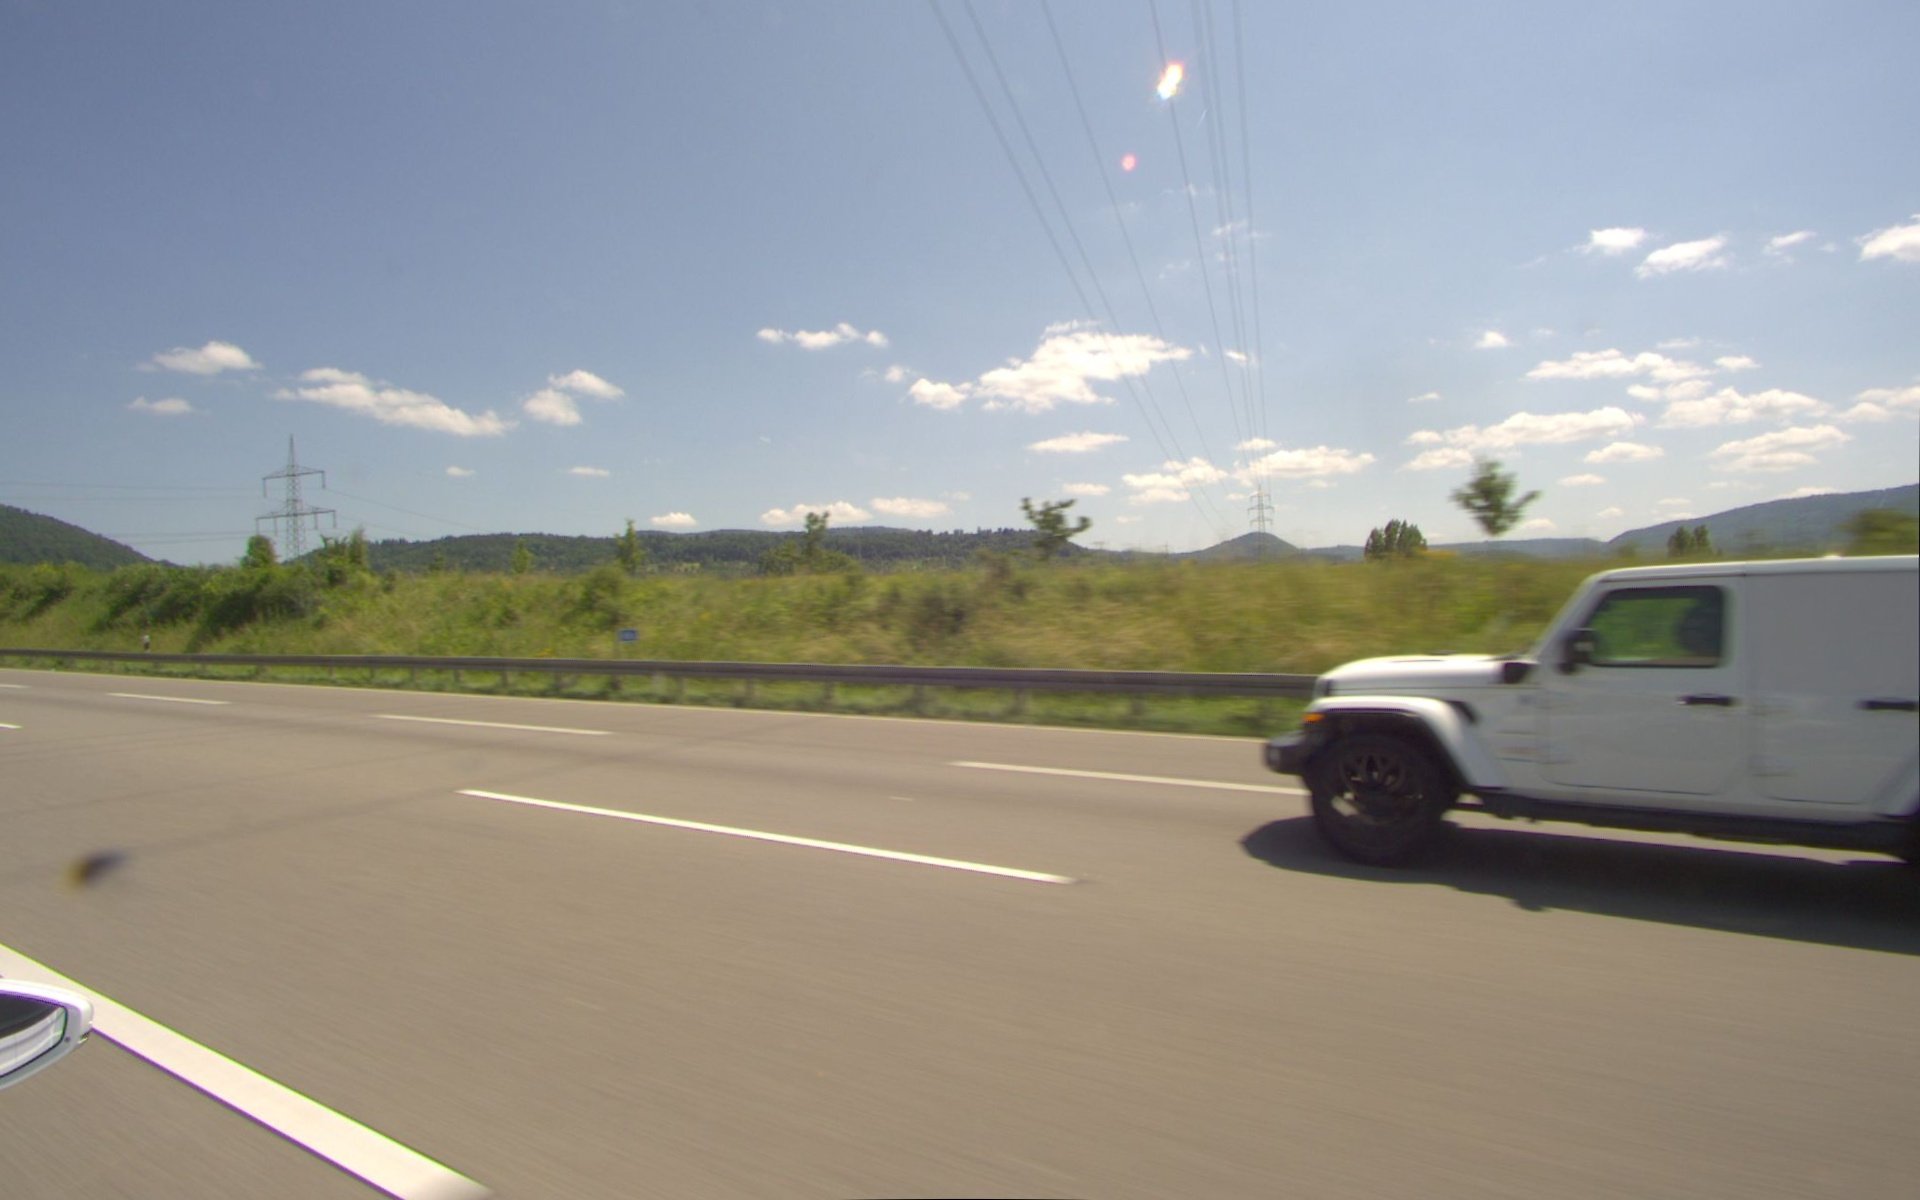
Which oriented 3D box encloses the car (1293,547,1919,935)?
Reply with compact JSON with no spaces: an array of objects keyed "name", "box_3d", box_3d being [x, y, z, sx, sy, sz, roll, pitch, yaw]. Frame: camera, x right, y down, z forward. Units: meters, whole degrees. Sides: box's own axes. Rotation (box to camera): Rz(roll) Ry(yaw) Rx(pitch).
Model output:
[{"name":"car","box_3d":[4.387,0.696,6.008,4.190,1.827,2.031,-1,-1,33]}]
